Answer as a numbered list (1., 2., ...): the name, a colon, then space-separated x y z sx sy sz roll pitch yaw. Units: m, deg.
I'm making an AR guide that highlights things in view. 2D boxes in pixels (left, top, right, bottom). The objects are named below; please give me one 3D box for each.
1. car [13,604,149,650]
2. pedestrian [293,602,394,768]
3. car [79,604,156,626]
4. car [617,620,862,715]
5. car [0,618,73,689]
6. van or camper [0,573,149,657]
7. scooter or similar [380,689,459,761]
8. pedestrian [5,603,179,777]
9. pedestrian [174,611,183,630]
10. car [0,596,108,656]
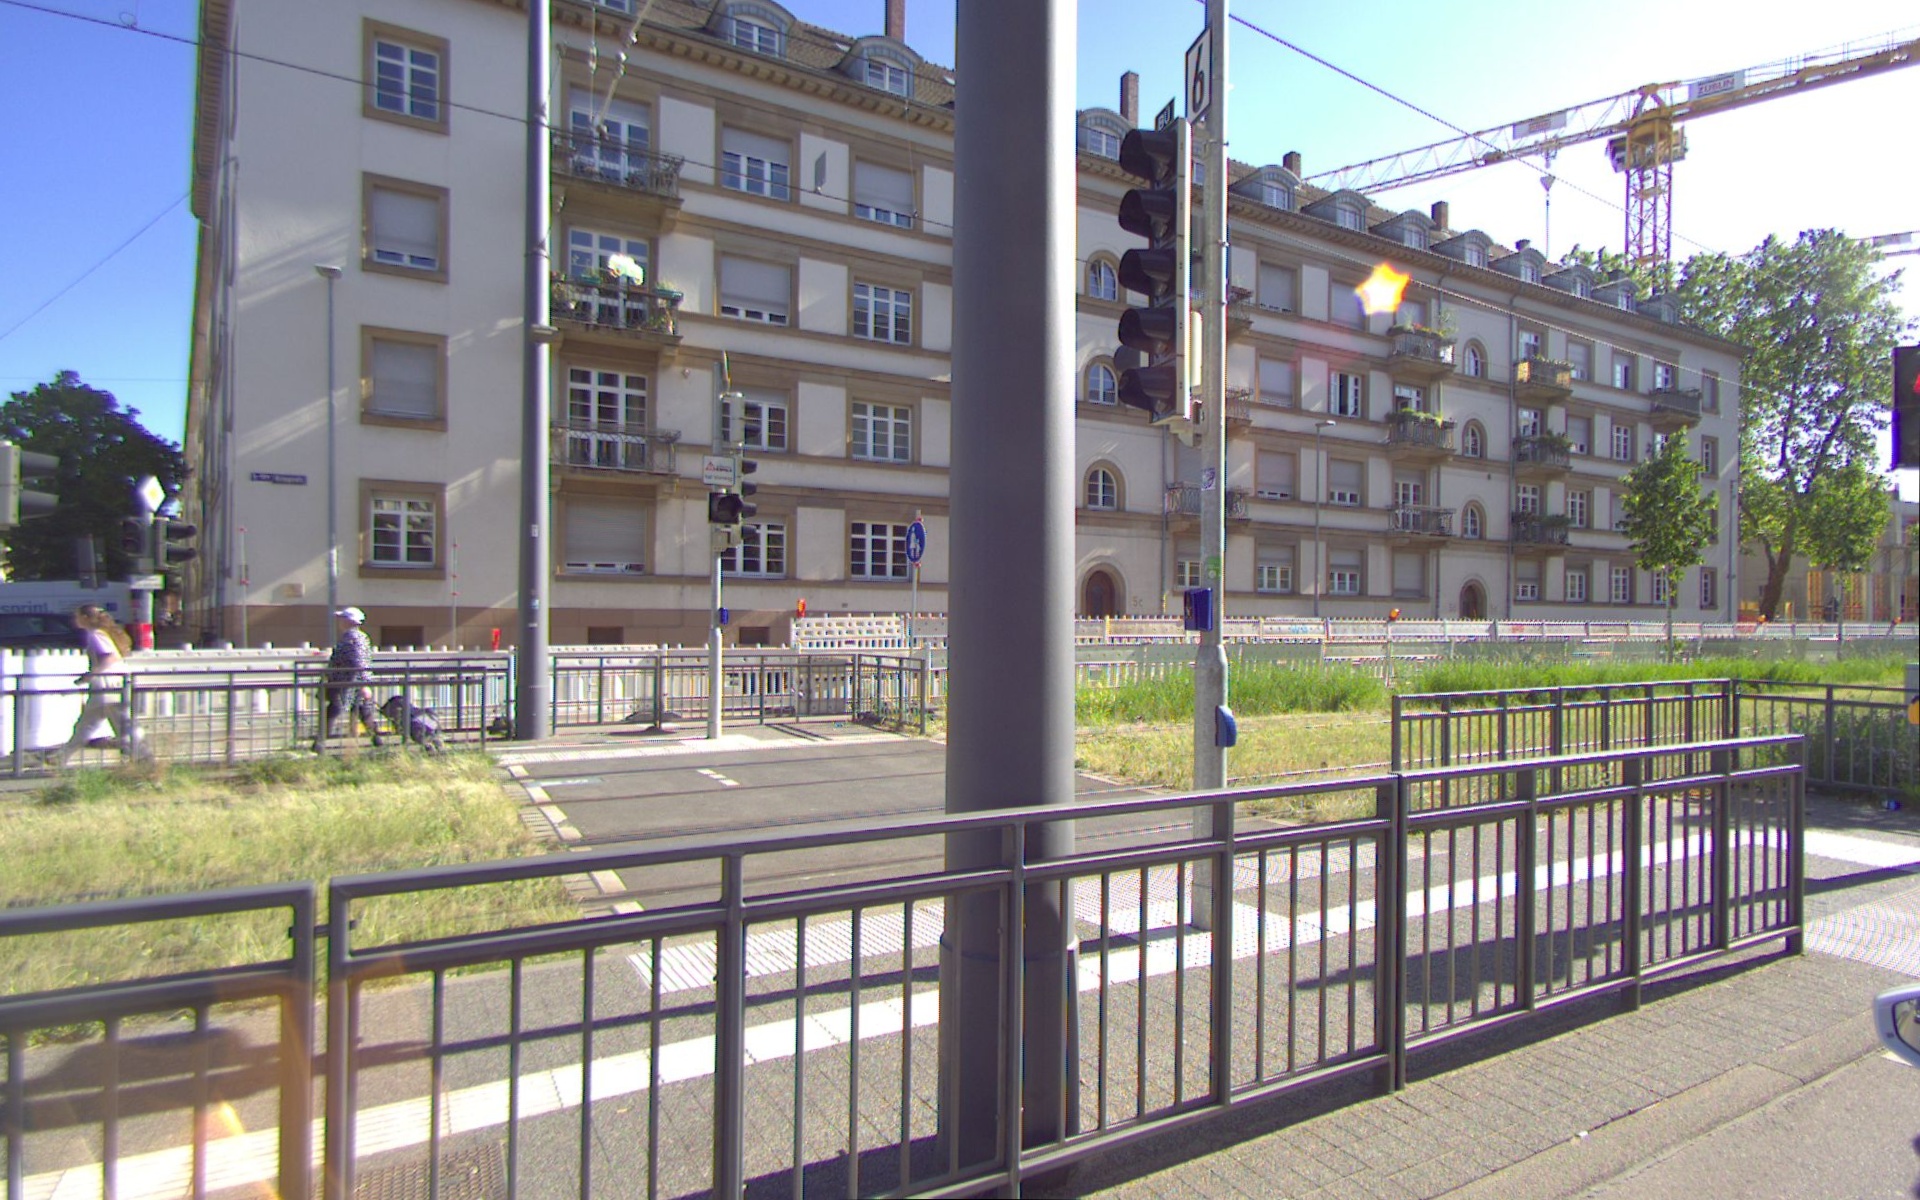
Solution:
1. car: -35.543 1.097 40.767 3.963 1.799 1.724 1 -1 -37
2. pedestrian: -6.136 0.812 10.037 0.805 1.557 0.791 1 0 -30
3. car: -58.151 1.018 69.370 1.730 1.480 3.854 -1 -1 43
4. car: -3.920 1.132 17.987 3.953 1.536 1.808 1 -1 -30
5. car: -22.048 1.168 22.137 3.642 1.542 1.672 1 -1 -39
6. van or camper: -28.132 0.452 30.075 5.911 2.432 1.976 1 -1 -42
7. scooter or similar: -5.632 1.291 10.472 0.701 0.660 0.512 1 0 -30
8. pedestrian: -8.210 0.819 9.549 0.851 1.557 0.909 1 0 -5
9. pedestrian: -76.628 2.007 98.477 0.682 1.778 0.808 1 -1 -36
10. car: -25.031 0.674 26.631 3.635 1.542 1.672 1 -1 -39
